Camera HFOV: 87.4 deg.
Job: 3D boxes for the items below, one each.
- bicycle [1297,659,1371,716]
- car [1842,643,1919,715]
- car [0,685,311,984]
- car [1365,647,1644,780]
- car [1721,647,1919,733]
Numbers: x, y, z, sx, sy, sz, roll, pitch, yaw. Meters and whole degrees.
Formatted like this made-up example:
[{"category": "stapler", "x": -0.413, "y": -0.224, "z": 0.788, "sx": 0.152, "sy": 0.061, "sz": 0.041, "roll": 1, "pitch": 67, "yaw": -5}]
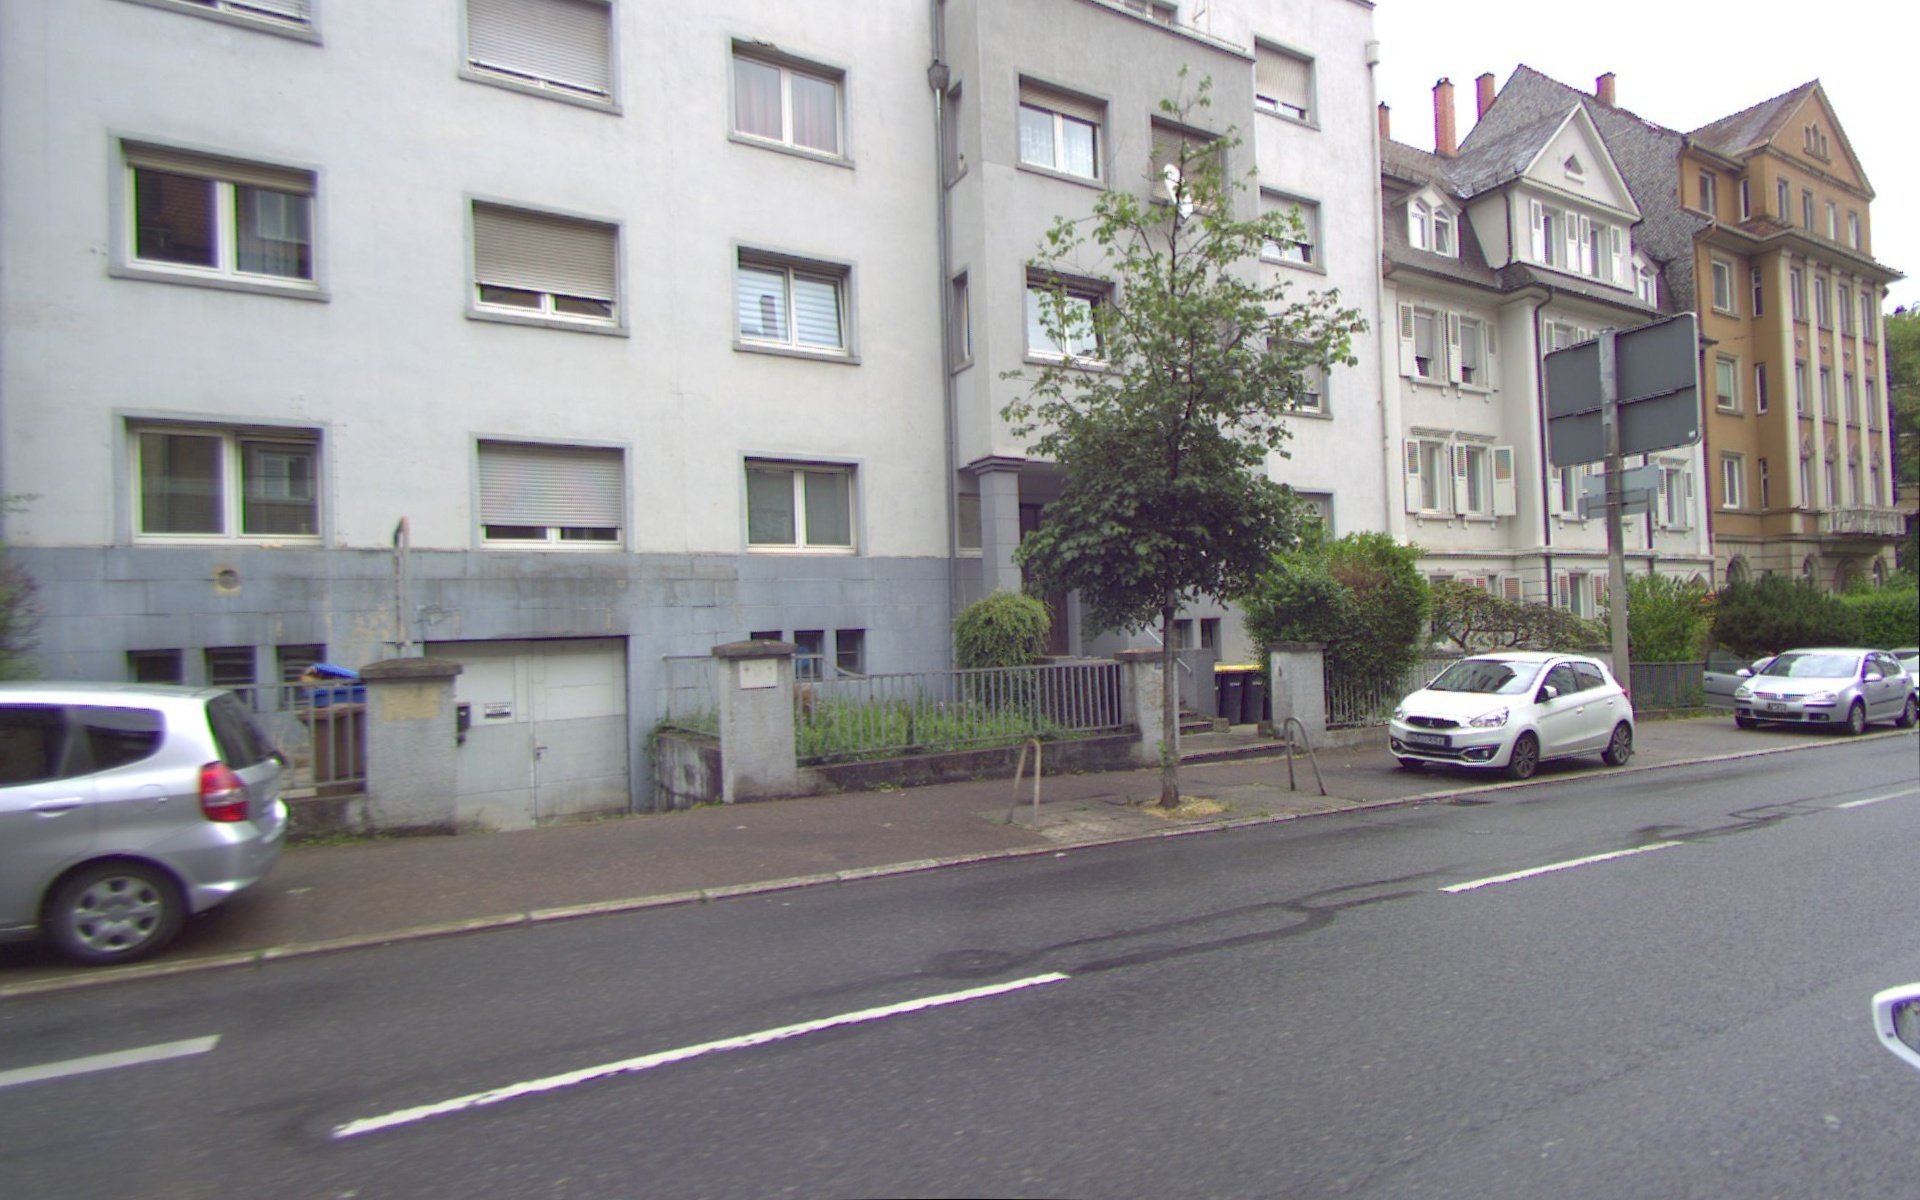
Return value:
[{"category": "bicycle", "x": 7.580, "y": 1.757, "z": 20.420, "sx": 0.478, "sy": 1.104, "sz": 1.414, "roll": 1, "pitch": -3, "yaw": -30}, {"category": "car", "x": 20.825, "y": 1.657, "z": 21.593, "sx": 3.889, "sy": 1.408, "sz": 1.675, "roll": 1, "pitch": -2, "yaw": -30}, {"category": "car", "x": -5.987, "y": 1.251, "z": 5.543, "sx": 3.837, "sy": 1.470, "sz": 1.595, "roll": 2, "pitch": -3, "yaw": -27}, {"category": "car", "x": 7.274, "y": 1.408, "z": 13.338, "sx": 3.755, "sy": 1.527, "sz": 1.637, "roll": 2, "pitch": -3, "yaw": -32}, {"category": "car", "x": 16.011, "y": 1.596, "z": 18.635, "sx": 3.863, "sy": 1.408, "sz": 1.675, "roll": 1, "pitch": -2, "yaw": -30}]
